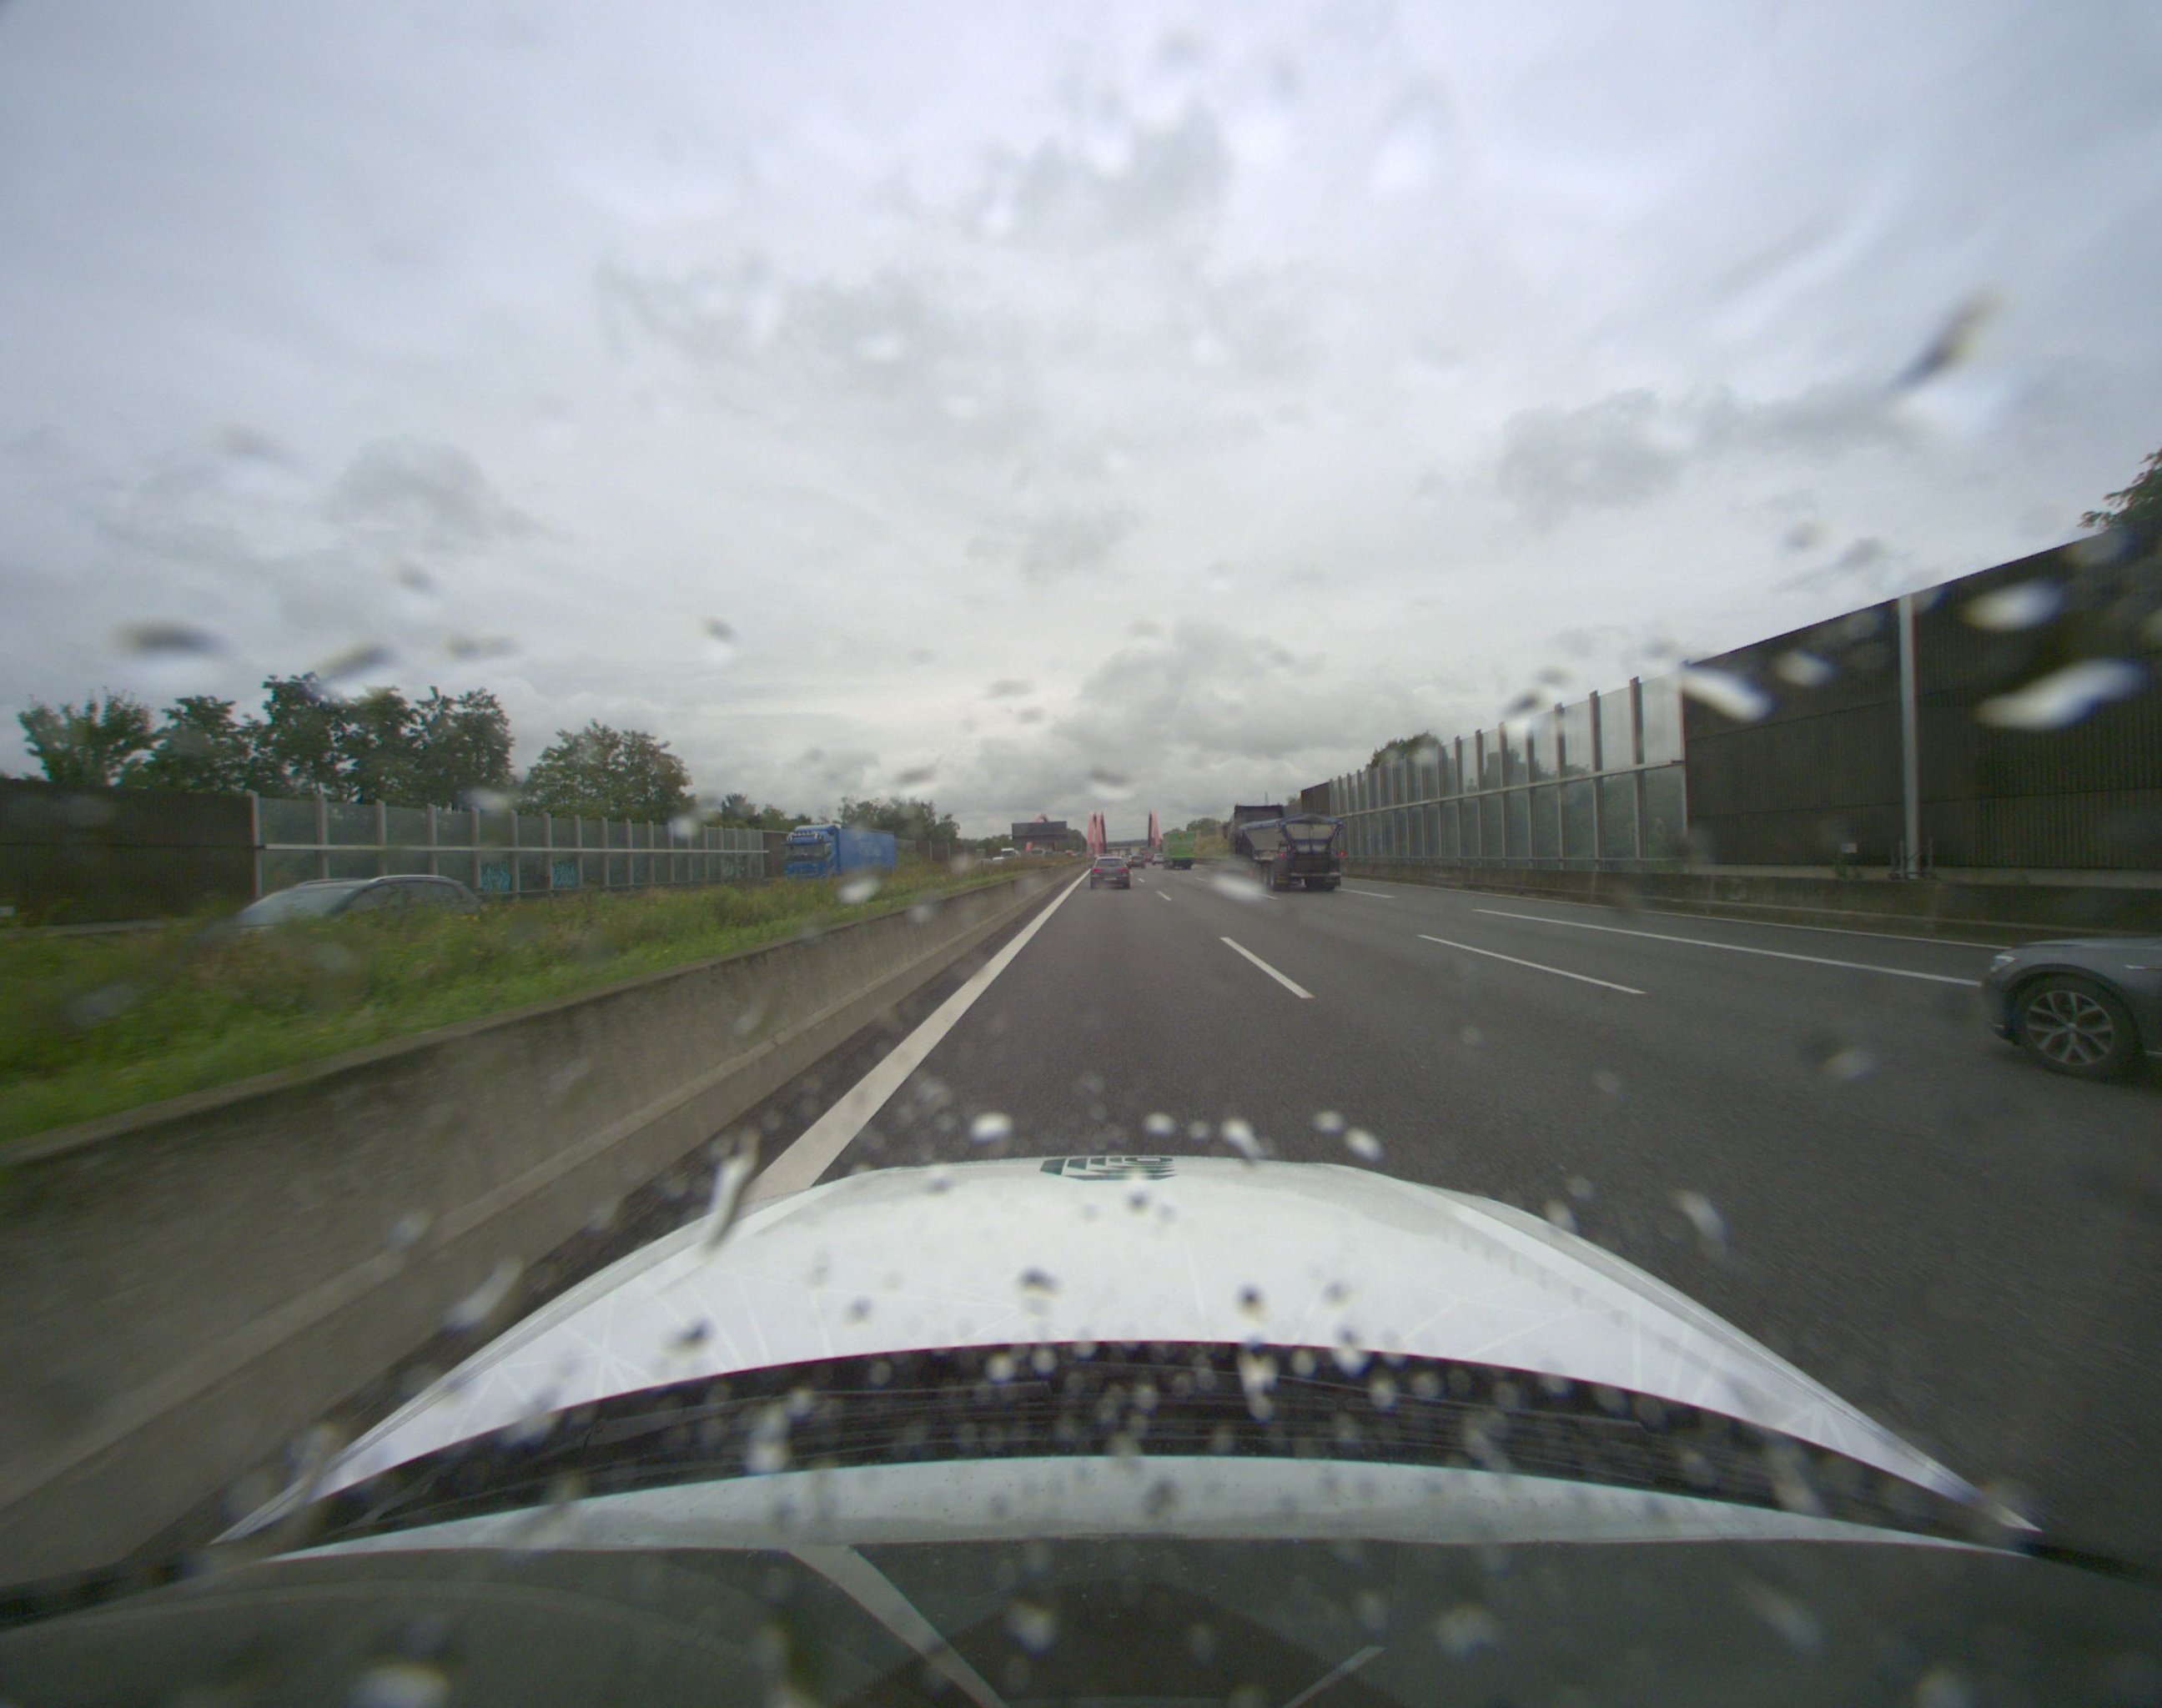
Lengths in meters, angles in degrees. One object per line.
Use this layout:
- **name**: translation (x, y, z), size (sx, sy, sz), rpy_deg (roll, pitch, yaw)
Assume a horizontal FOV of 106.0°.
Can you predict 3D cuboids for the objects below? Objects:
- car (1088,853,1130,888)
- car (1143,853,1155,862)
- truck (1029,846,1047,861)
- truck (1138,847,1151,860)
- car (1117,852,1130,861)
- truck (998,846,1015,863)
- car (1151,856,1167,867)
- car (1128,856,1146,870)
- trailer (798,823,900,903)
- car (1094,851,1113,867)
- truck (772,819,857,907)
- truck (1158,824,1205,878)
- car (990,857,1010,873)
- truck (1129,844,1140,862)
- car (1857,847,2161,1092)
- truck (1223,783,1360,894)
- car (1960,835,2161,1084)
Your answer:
- **car**: translation (1.292, 0.708, 36.301), size (1.756, 1.453, 4.003), rpy_deg (-1, 0, 3)
- **car**: translation (12.453, 0.652, 149.941), size (1.950, 1.647, 4.001), rpy_deg (0, 0, 2)
- **truck**: translation (-8.813, -0.068, 168.019), size (2.944, 3.067, 8.731), rpy_deg (0, 0, 2)
- **truck**: translation (12.906, -0.156, 166.101), size (2.352, 2.506, 6.148), rpy_deg (-1, 0, 3)
- **car**: translation (6.922, 0.344, 133.330), size (1.986, 1.354, 4.001), rpy_deg (-2, 0, 1)
- **truck**: translation (-13.687, 0.047, 149.970), size (2.613, 3.019, 5.611), rpy_deg (0, 0, -1)
- **car**: translation (11.363, 1.102, 118.736), size (1.986, 1.619, 5.330), rpy_deg (0, 0, 2)
- **car**: translation (5.884, 0.948, 86.414), size (1.775, 1.406, 3.628), rpy_deg (-1, 0, 2)
- **trailer**: translation (-15.651, 0.547, 56.437), size (3.206, 4.885, 13.525), rpy_deg (0, 0, 0)
- **car**: translation (2.513, 0.532, 89.925), size (1.986, 1.585, 4.001), rpy_deg (-2, 0, 1)
- **truck**: translation (-15.632, 0.510, 48.168), size (3.177, 4.858, 5.419), rpy_deg (0, 0, 0)
- **truck**: translation (10.239, -0.285, 84.506), size (3.981, 5.266, 11.226), rpy_deg (0, 0, 3)
- **car**: translation (-10.240, 1.376, 103.209), size (1.986, 2.013, 4.199), rpy_deg (-1, 0, 2)
- **truck**: translation (14.970, -0.287, 228.988), size (3.032, 4.734, 7.685), rpy_deg (0, 0, 2)
- **car**: translation (7.269, 0.679, 4.034), size (1.932, 1.427, 5.291), rpy_deg (0, 0, 1)
- **truck**: translation (8.852, -0.545, 36.371), size (3.078, 3.950, 12.950), rpy_deg (-2, 0, 2)
- **car**: translation (7.126, 0.609, 3.624), size (1.657, 1.456, 4.471), rpy_deg (0, 0, 1)
